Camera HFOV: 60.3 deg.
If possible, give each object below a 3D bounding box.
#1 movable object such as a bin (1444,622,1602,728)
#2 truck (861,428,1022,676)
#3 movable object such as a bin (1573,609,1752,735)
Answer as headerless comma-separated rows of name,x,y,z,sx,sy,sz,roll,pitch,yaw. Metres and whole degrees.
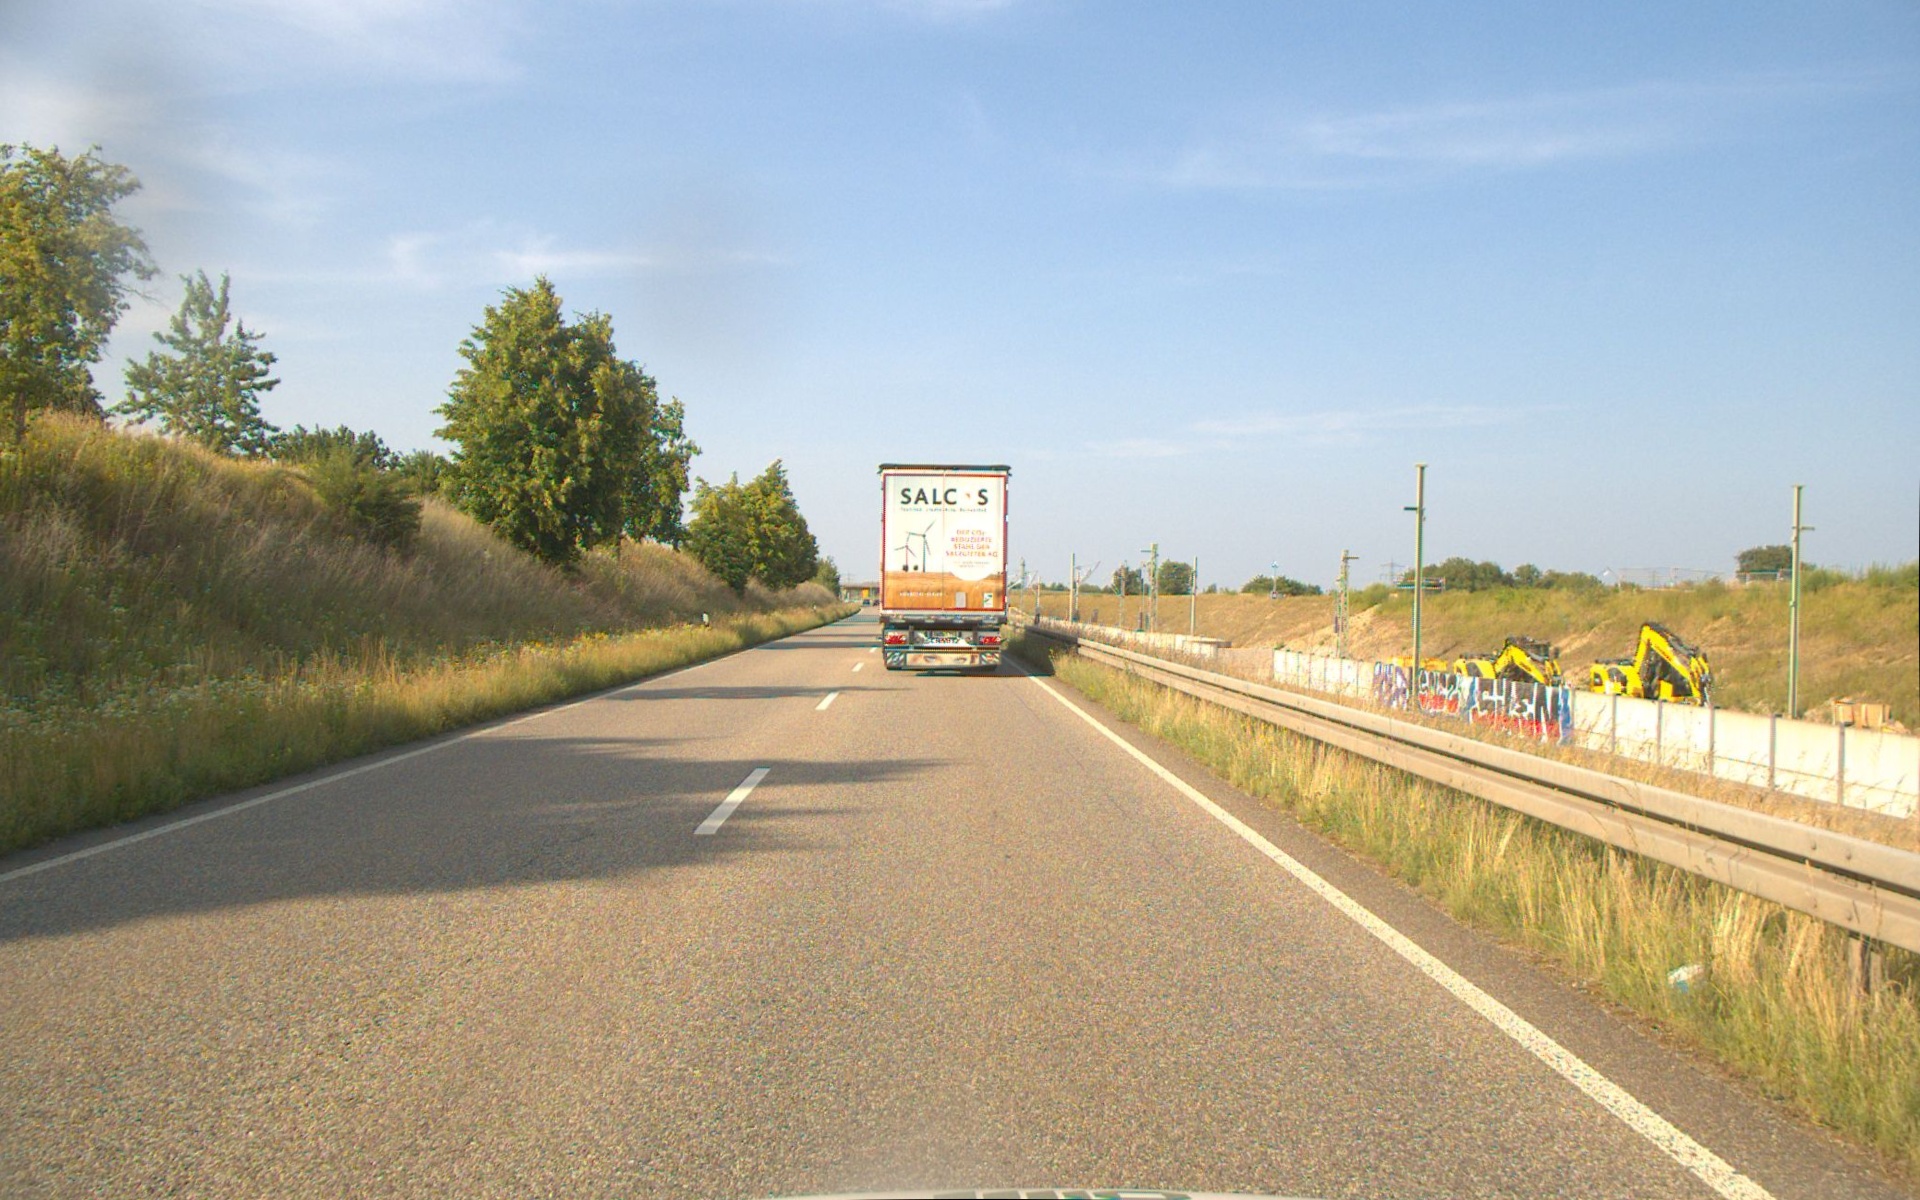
movable object such as a bin,19.639,2.514,58.225,2.569,3.296,8.070,1,0,-2
truck,-0.392,-0.940,36.258,3.089,4.770,8.440,0,0,-1
movable object such as a bin,24.061,2.352,57.137,2.740,3.954,7.535,1,0,-2
